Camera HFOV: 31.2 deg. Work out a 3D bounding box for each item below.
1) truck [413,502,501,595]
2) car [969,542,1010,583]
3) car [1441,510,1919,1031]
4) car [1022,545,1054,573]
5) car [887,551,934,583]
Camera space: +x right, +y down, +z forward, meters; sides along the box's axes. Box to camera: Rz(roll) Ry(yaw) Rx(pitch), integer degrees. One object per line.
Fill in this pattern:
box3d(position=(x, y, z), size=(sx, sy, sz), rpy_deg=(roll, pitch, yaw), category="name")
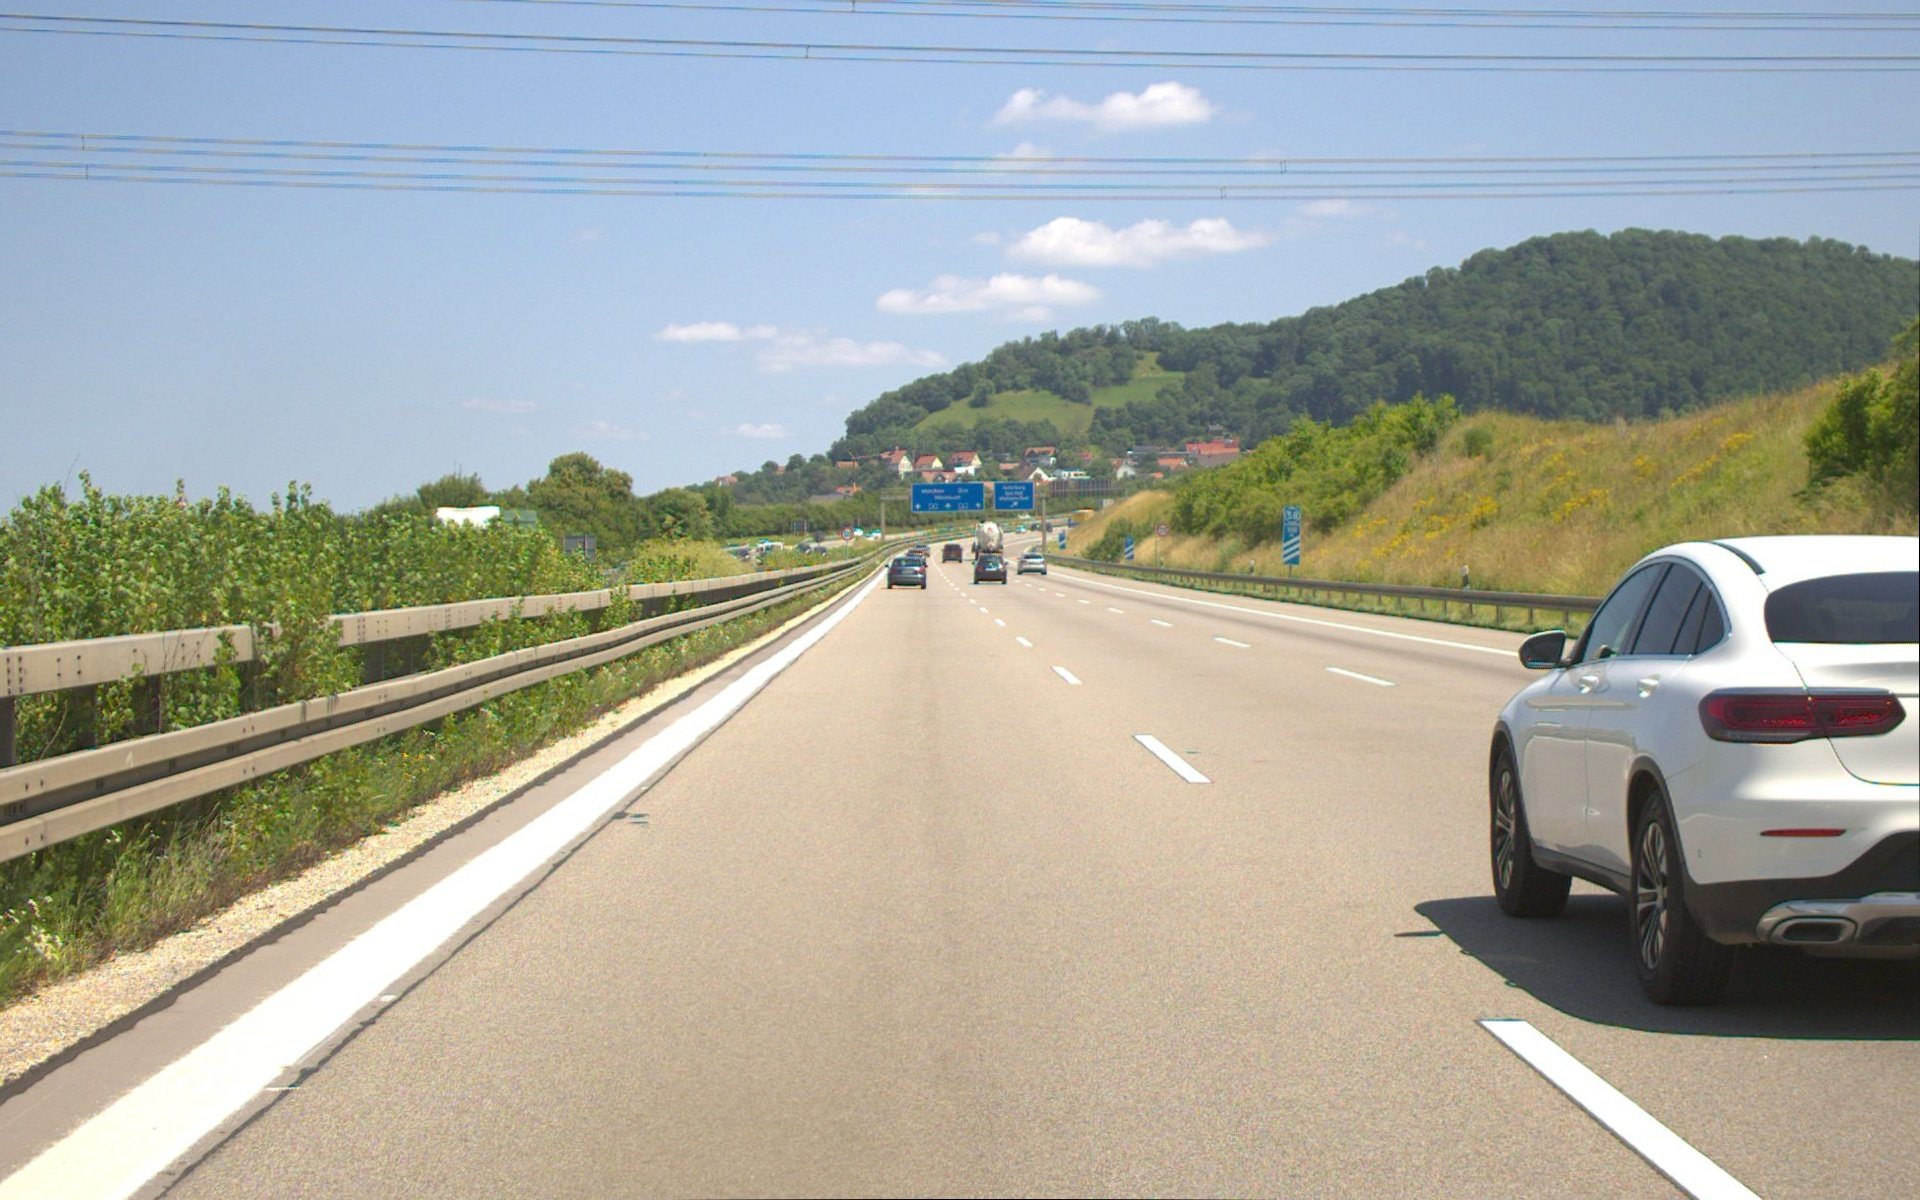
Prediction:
box3d(position=(-19.753, -1.989, 135.282), size=(2.723, 3.547, 5.901), rpy_deg=(1, 0, -2), category="truck")
box3d(position=(1.450, -1.856, 172.636), size=(1.993, 2.007, 4.000), rpy_deg=(1, 0, 0), category="car")
box3d(position=(3.209, 0.515, 13.061), size=(1.914, 1.575, 5.231), rpy_deg=(1, 0, -1), category="car")
box3d(position=(5.116, -2.704, 226.361), size=(1.993, 1.812, 4.000), rpy_deg=(-1, 1, 0), category="car")
box3d(position=(-2.172, -1.434, 150.616), size=(1.993, 1.384, 4.000), rpy_deg=(1, 0, 0), category="car")
